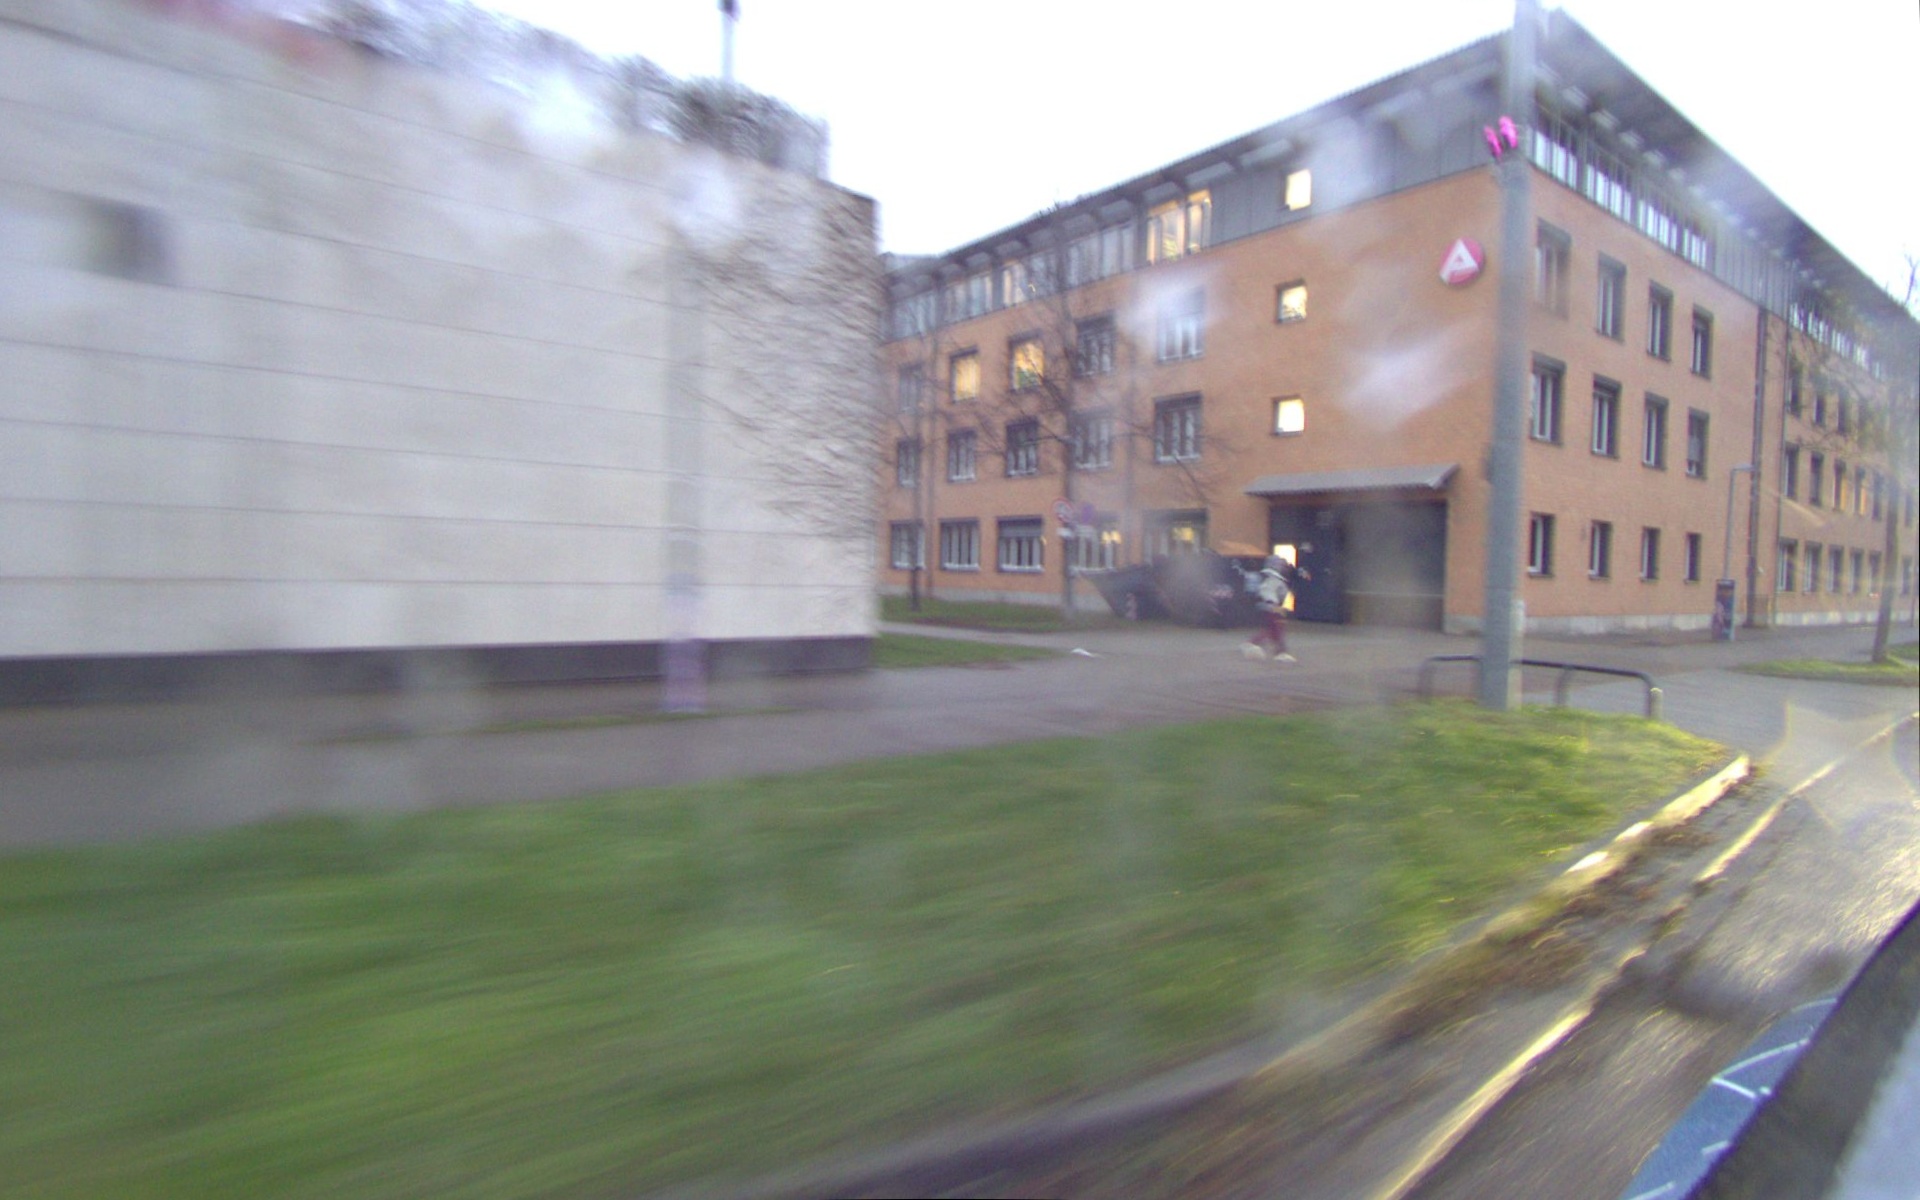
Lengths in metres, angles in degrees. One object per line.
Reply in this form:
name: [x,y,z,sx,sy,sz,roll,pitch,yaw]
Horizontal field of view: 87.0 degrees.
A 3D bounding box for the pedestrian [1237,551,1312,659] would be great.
pedestrian: [4.951,0.061,15.925,1.048,1.630,0.622,1,2,-41]
